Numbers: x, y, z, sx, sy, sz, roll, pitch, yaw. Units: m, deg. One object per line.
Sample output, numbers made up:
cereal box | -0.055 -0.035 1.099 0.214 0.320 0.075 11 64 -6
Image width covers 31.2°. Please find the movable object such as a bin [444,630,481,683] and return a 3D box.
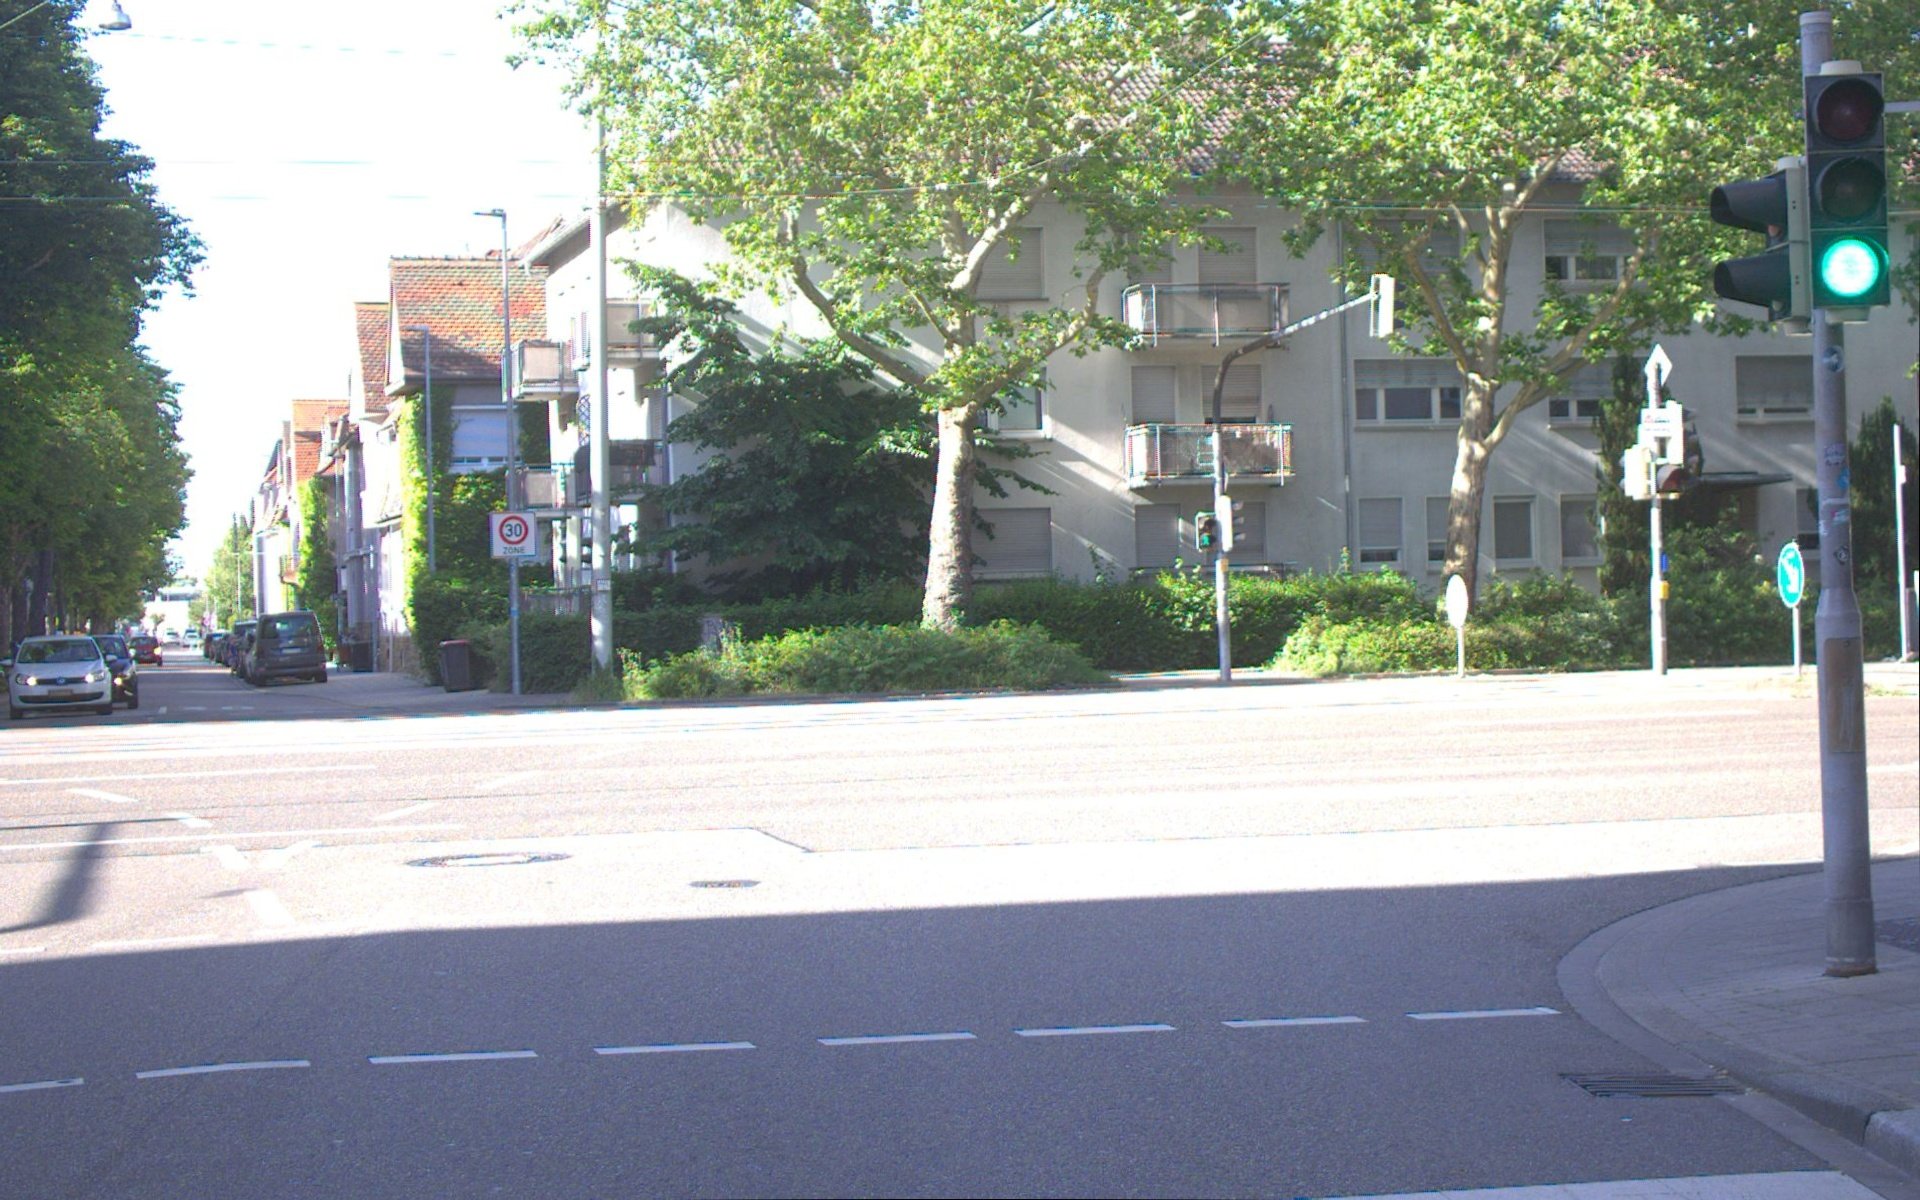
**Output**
movable object such as a bin | -10.421 1.185 71.940 0.597 1.041 0.707 -5 1 -15

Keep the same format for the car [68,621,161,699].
car | -16.901 1.184 68.835 1.660 1.459 3.809 -2 0 -12

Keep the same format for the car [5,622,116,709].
car | -16.079 1.182 61.590 1.806 1.453 4.001 -2 -1 -14

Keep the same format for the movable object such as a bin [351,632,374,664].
movable object such as a bin | -20.027 1.610 115.194 0.647 1.036 0.828 -2 0 -15

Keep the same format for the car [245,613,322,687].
car | -18.586 1.347 94.368 1.864 1.909 4.783 2 -1 -13

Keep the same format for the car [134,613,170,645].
car | -40.192 1.440 170.942 1.640 1.503 3.703 -3 0 -13
